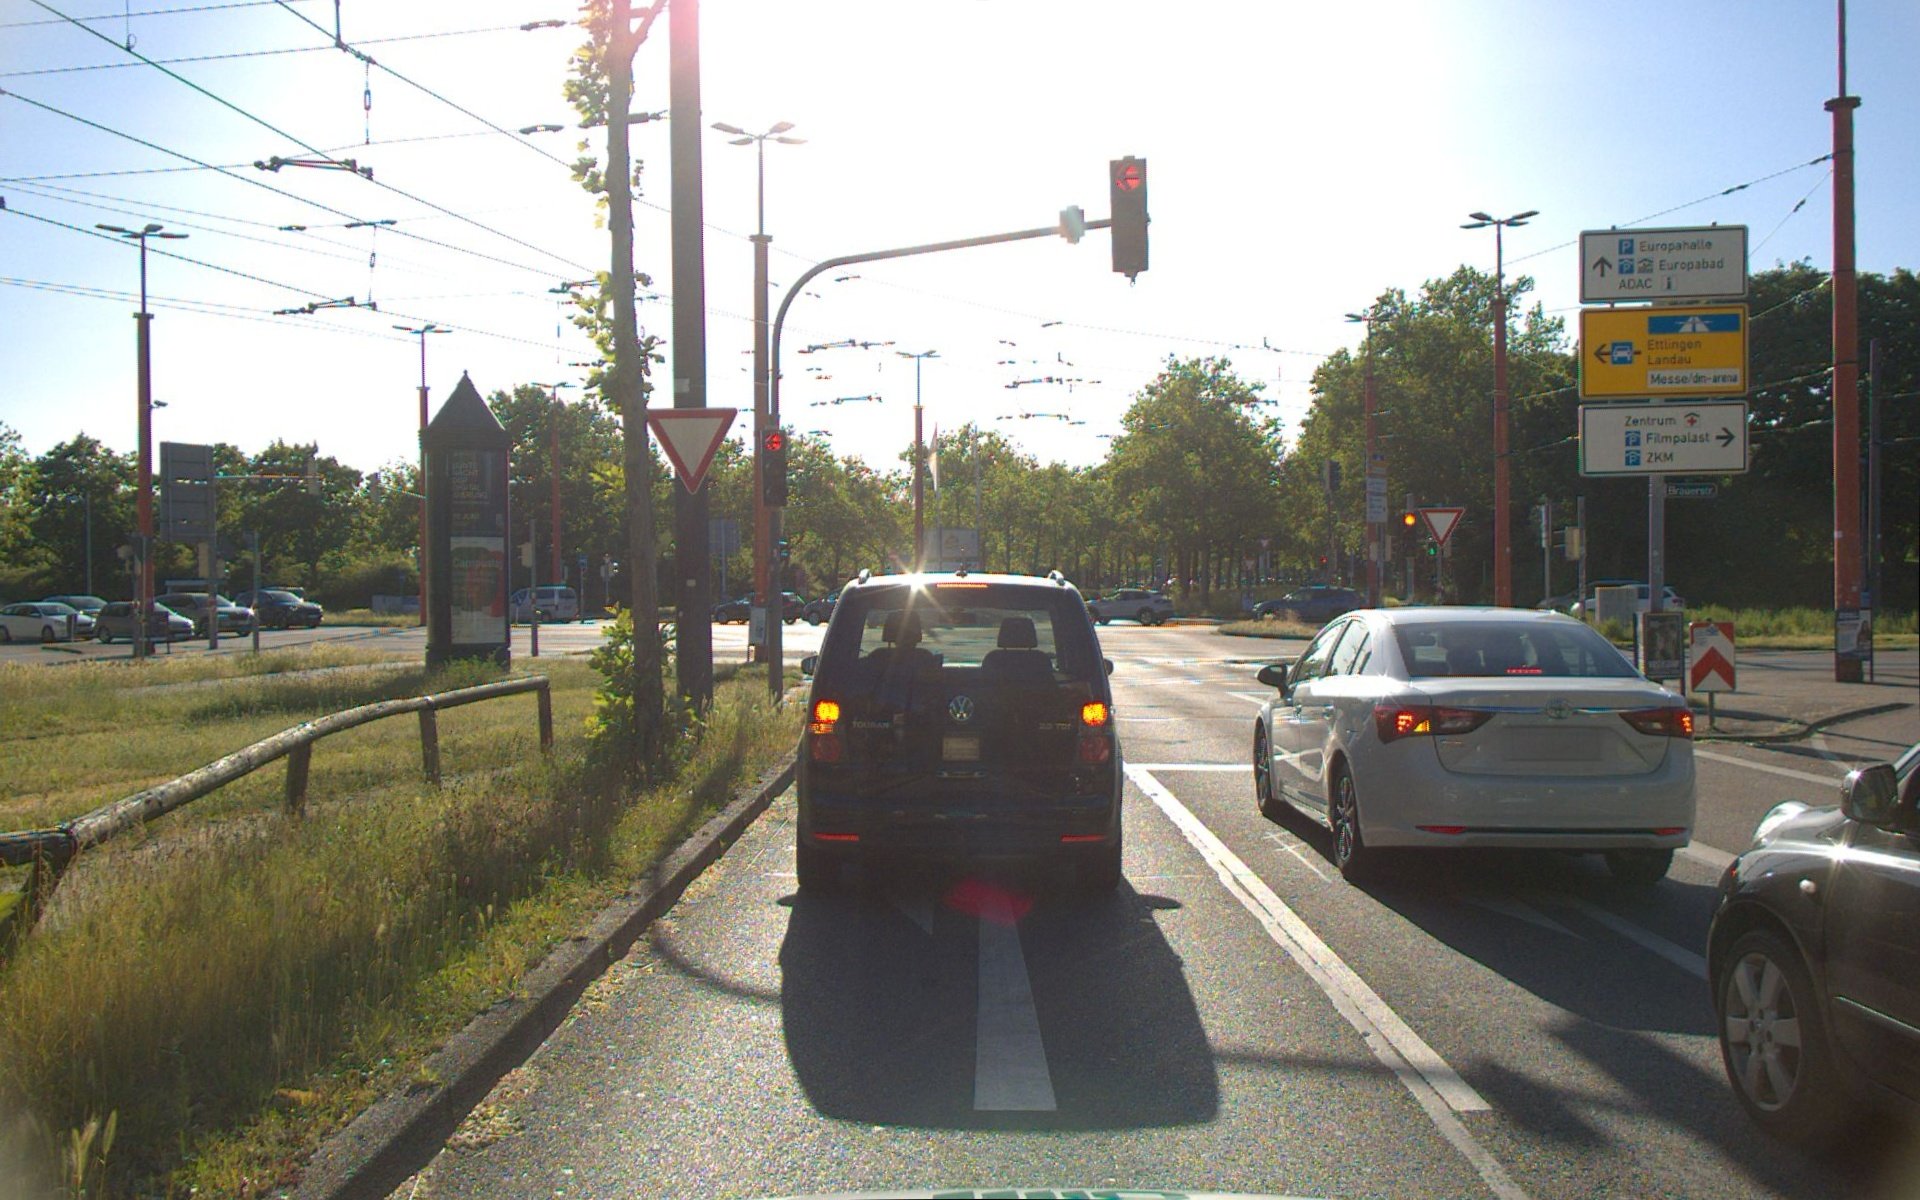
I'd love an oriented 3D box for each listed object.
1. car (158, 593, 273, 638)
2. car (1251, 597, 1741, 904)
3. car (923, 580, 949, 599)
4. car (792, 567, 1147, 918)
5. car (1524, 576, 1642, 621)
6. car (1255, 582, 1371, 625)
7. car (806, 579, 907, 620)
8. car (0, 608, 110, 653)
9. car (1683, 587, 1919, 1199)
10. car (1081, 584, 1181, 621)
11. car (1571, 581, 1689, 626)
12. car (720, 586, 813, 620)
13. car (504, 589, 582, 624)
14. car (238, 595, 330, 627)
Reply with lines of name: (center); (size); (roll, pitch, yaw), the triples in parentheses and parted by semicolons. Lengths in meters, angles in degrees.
car: (-28.845, 0.578, 64.087); (3.907, 1.673, 1.999); (0, 0, 24)
car: (2.978, 0.729, 10.145); (1.685, 1.463, 4.198); (1, 0, 1)
car: (-2.235, -0.932, 153.013); (1.874, 1.664, 4.003); (1, 0, 6)
car: (0.010, 0.671, 9.805); (1.666, 1.650, 3.896); (1, 0, -1)
car: (23.693, -0.058, 62.938); (4.040, 1.672, 1.850); (0, 0, 27)
car: (13.598, 0.130, 63.729); (4.039, 1.626, 1.827); (0, 0, 27)
car: (-4.549, -0.021, 72.490); (4.097, 1.673, 1.758); (1, 0, 26)
car: (-34.695, 1.128, 63.139); (4.091, 1.640, 1.867); (0, 0, 25)
car: (3.177, 0.746, 3.581); (1.620, 1.526, 3.614); (1, 0, 0)
car: (7.288, 0.102, 70.404); (3.887, 1.466, 1.685); (1, 0, 27)
car: (23.659, 0.109, 58.408); (3.745, 1.549, 1.693); (0, 0, 27)
car: (-9.182, 0.137, 78.540); (4.040, 1.537, 1.821); (1, 0, 26)
car: (-21.258, 0.341, 84.296); (3.570, 1.684, 1.679); (1, 0, 25)
car: (-29.272, 0.476, 71.596); (3.913, 1.353, 1.694); (0, 0, 31)
